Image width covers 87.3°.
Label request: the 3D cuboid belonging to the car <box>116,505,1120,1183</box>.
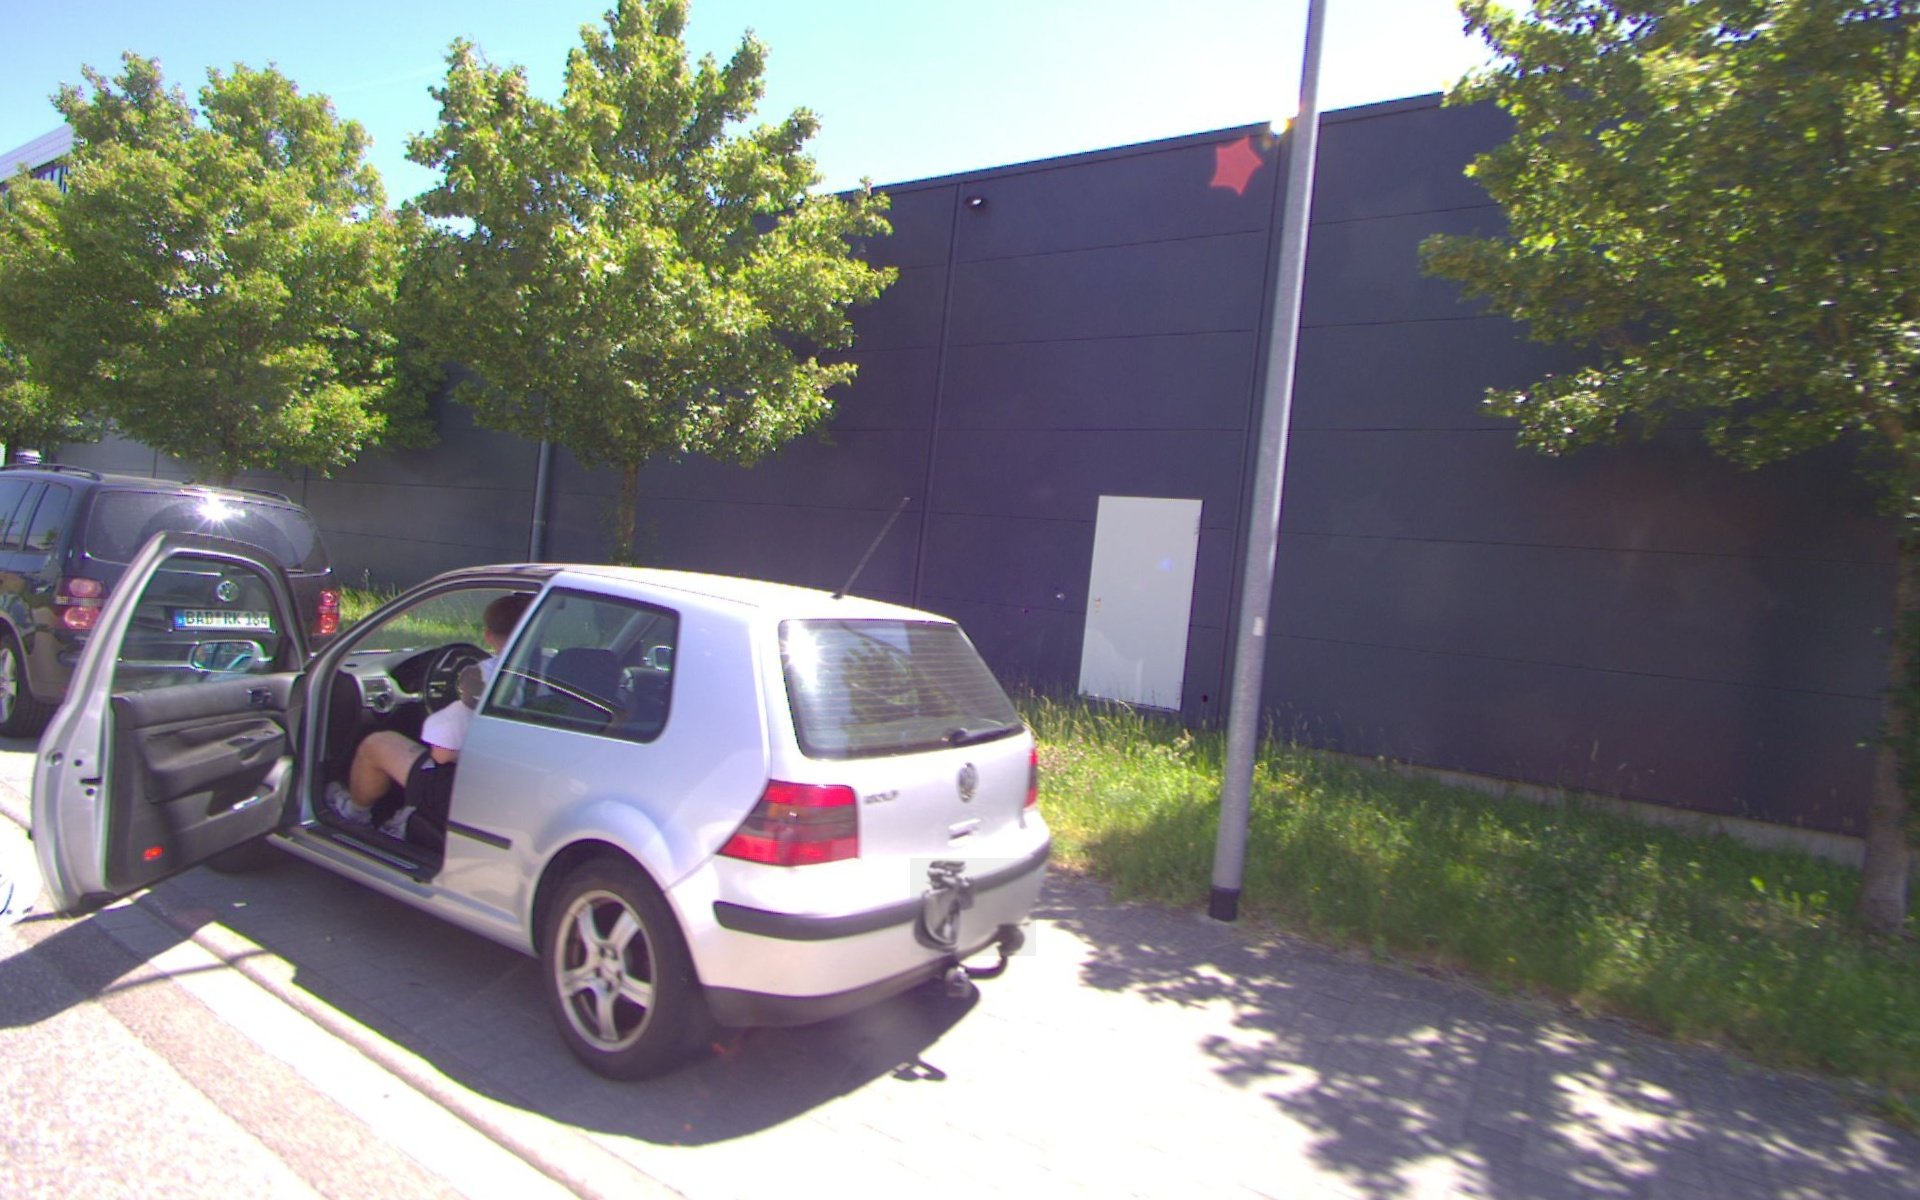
[{"bbox_3d":[-1.633,0.532,4.241,4.120,1.476,1.708,6,1,32],"label":"car"}]

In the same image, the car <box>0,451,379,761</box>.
[{"bbox_3d":[-6.363,-0.111,7.385,4.296,1.691,1.738,6,1,32],"label":"car"}]
